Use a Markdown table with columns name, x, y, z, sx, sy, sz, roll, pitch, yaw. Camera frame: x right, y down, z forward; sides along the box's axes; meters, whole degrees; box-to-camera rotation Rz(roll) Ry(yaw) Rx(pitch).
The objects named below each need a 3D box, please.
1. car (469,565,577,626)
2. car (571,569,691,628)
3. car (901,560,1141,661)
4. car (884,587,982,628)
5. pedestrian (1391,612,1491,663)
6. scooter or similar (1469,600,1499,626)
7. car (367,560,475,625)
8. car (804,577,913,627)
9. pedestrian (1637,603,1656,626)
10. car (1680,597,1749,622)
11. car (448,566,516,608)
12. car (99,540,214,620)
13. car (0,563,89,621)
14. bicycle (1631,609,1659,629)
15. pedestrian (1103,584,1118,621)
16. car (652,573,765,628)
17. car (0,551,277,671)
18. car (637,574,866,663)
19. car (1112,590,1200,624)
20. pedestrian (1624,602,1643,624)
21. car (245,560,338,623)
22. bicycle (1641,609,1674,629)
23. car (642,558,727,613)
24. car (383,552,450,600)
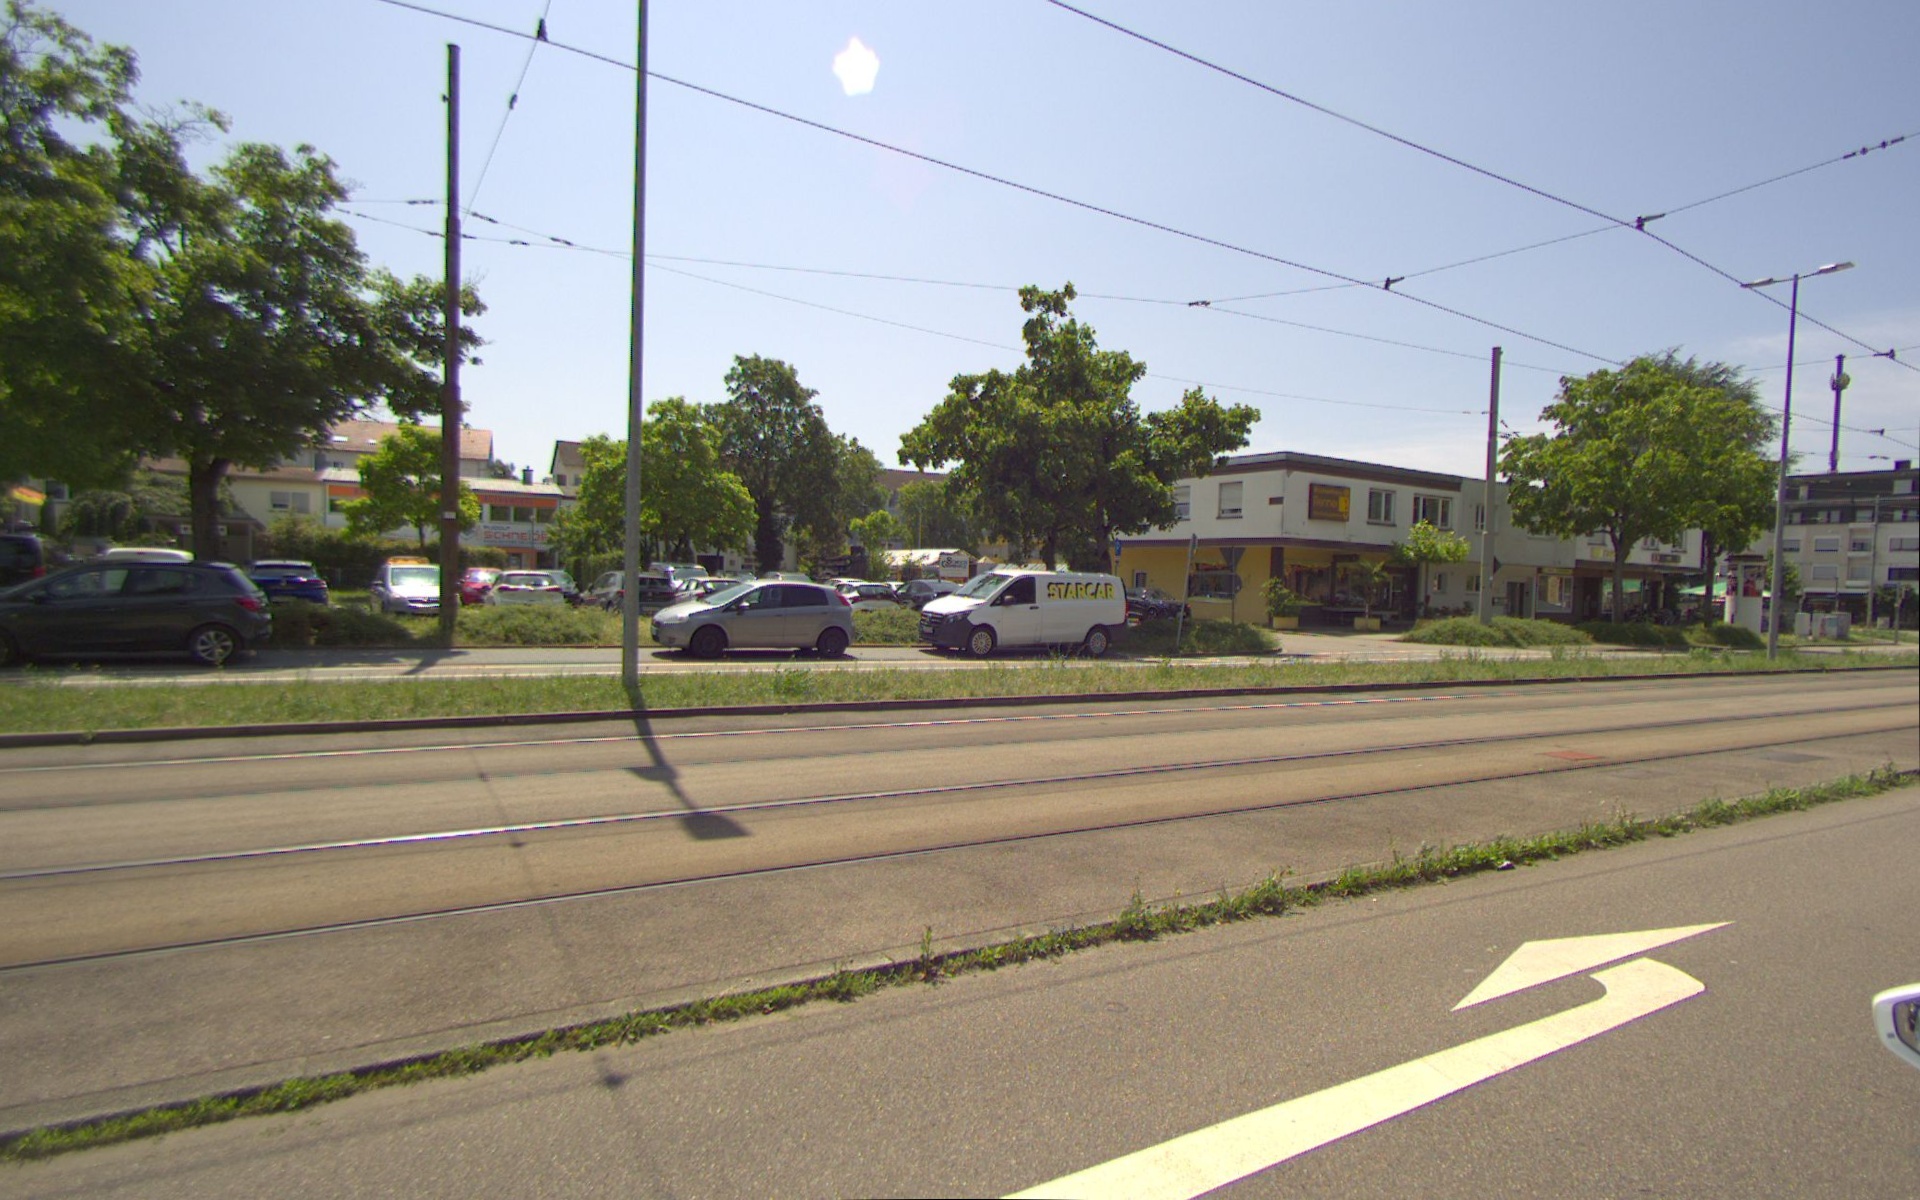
| name | x | y | z | sx | sy | sz | roll | pitch | yaw |
| --- | --- | --- | --- | --- | --- | --- | --- | --- | --- |
| car | -11.976 | -0.156 | 27.381 | 1.816 | 1.509 | 4.032 | 1 | 1 | -37 |
| car | -9.383 | -0.077 | 28.491 | 2.005 | 1.509 | 4.119 | 1 | 1 | -37 |
| car | 1.457 | 0.251 | 23.095 | 5.281 | 2.038 | 1.866 | 2 | 4 | -30 |
| car | -0.947 | 0.234 | 33.877 | 1.628 | 1.248 | 3.388 | 1 | 1 | -37 |
| pedestrian | 20.467 | 1.576 | 42.717 | 3.955 | 2.040 | 1.983 | 2 | 0 | -32 |
| scooter or similar | 25.614 | 0.647 | 49.101 | 1.321 | 1.207 | 0.455 | 2 | 0 | -11 |
| car | -13.894 | -0.218 | 25.779 | 1.850 | 1.508 | 3.957 | 1 | 1 | -37 |
| car | -3.402 | 0.030 | 33.047 | 1.962 | 1.509 | 4.138 | 1 | 1 | -31 |
| pedestrian | 39.391 | 0.854 | 57.628 | 0.832 | 1.285 | 0.586 | 2 | 0 | -31 |
| car | 75.305 | 0.910 | 100.328 | 2.220 | 2.372 | 5.037 | 2 | 0 | -32 |
| car | -18.566 | -0.489 | 38.927 | 1.700 | 1.514 | 3.959 | 2 | -1 | -36 |
| car | -18.996 | -0.477 | 23.895 | 1.779 | 1.741 | 3.962 | 1 | 1 | -34 |
| car | -20.786 | -0.216 | 22.044 | 2.012 | 1.159 | 4.222 | 1 | 1 | -34 |
| bicycle | 36.787 | 1.019 | 53.947 | 1.739 | 0.992 | 0.536 | 2 | 0 | -31 |
| pedestrian | 7.524 | 0.126 | 50.254 | 0.466 | 1.823 | 0.484 | 2 | 0 | -31 |
| car | -7.615 | 0.005 | 30.186 | 1.843 | 1.509 | 4.102 | 2 | -1 | -37 |
| car | -12.403 | 0.173 | 14.778 | 3.708 | 1.598 | 1.961 | 2 | 0 | -30 |
| car | -4.078 | 0.363 | 19.781 | 4.077 | 1.523 | 1.641 | 2 | 4 | -30 |
| car | 8.498 | 0.285 | 43.892 | 1.661 | 1.314 | 3.970 | 0 | 2 | -28 |
| pedestrian | 38.997 | 0.749 | 58.137 | 0.832 | 1.285 | 0.586 | 2 | 0 | -31 |
| car | -16.542 | -0.190 | 24.895 | 1.779 | 1.425 | 3.962 | 1 | 0 | -34 |
| bicycle | 36.171 | 0.999 | 52.097 | 2.006 | 0.992 | 0.607 | 2 | 0 | -31 |
| car | -11.639 | -0.589 | 42.237 | 2.200 | 2.097 | 5.083 | 2 | -1 | -30 |
| car | -20.229 | -0.869 | 37.314 | 1.677 | 1.675 | 4.088 | 1 | 0 | -36 |
